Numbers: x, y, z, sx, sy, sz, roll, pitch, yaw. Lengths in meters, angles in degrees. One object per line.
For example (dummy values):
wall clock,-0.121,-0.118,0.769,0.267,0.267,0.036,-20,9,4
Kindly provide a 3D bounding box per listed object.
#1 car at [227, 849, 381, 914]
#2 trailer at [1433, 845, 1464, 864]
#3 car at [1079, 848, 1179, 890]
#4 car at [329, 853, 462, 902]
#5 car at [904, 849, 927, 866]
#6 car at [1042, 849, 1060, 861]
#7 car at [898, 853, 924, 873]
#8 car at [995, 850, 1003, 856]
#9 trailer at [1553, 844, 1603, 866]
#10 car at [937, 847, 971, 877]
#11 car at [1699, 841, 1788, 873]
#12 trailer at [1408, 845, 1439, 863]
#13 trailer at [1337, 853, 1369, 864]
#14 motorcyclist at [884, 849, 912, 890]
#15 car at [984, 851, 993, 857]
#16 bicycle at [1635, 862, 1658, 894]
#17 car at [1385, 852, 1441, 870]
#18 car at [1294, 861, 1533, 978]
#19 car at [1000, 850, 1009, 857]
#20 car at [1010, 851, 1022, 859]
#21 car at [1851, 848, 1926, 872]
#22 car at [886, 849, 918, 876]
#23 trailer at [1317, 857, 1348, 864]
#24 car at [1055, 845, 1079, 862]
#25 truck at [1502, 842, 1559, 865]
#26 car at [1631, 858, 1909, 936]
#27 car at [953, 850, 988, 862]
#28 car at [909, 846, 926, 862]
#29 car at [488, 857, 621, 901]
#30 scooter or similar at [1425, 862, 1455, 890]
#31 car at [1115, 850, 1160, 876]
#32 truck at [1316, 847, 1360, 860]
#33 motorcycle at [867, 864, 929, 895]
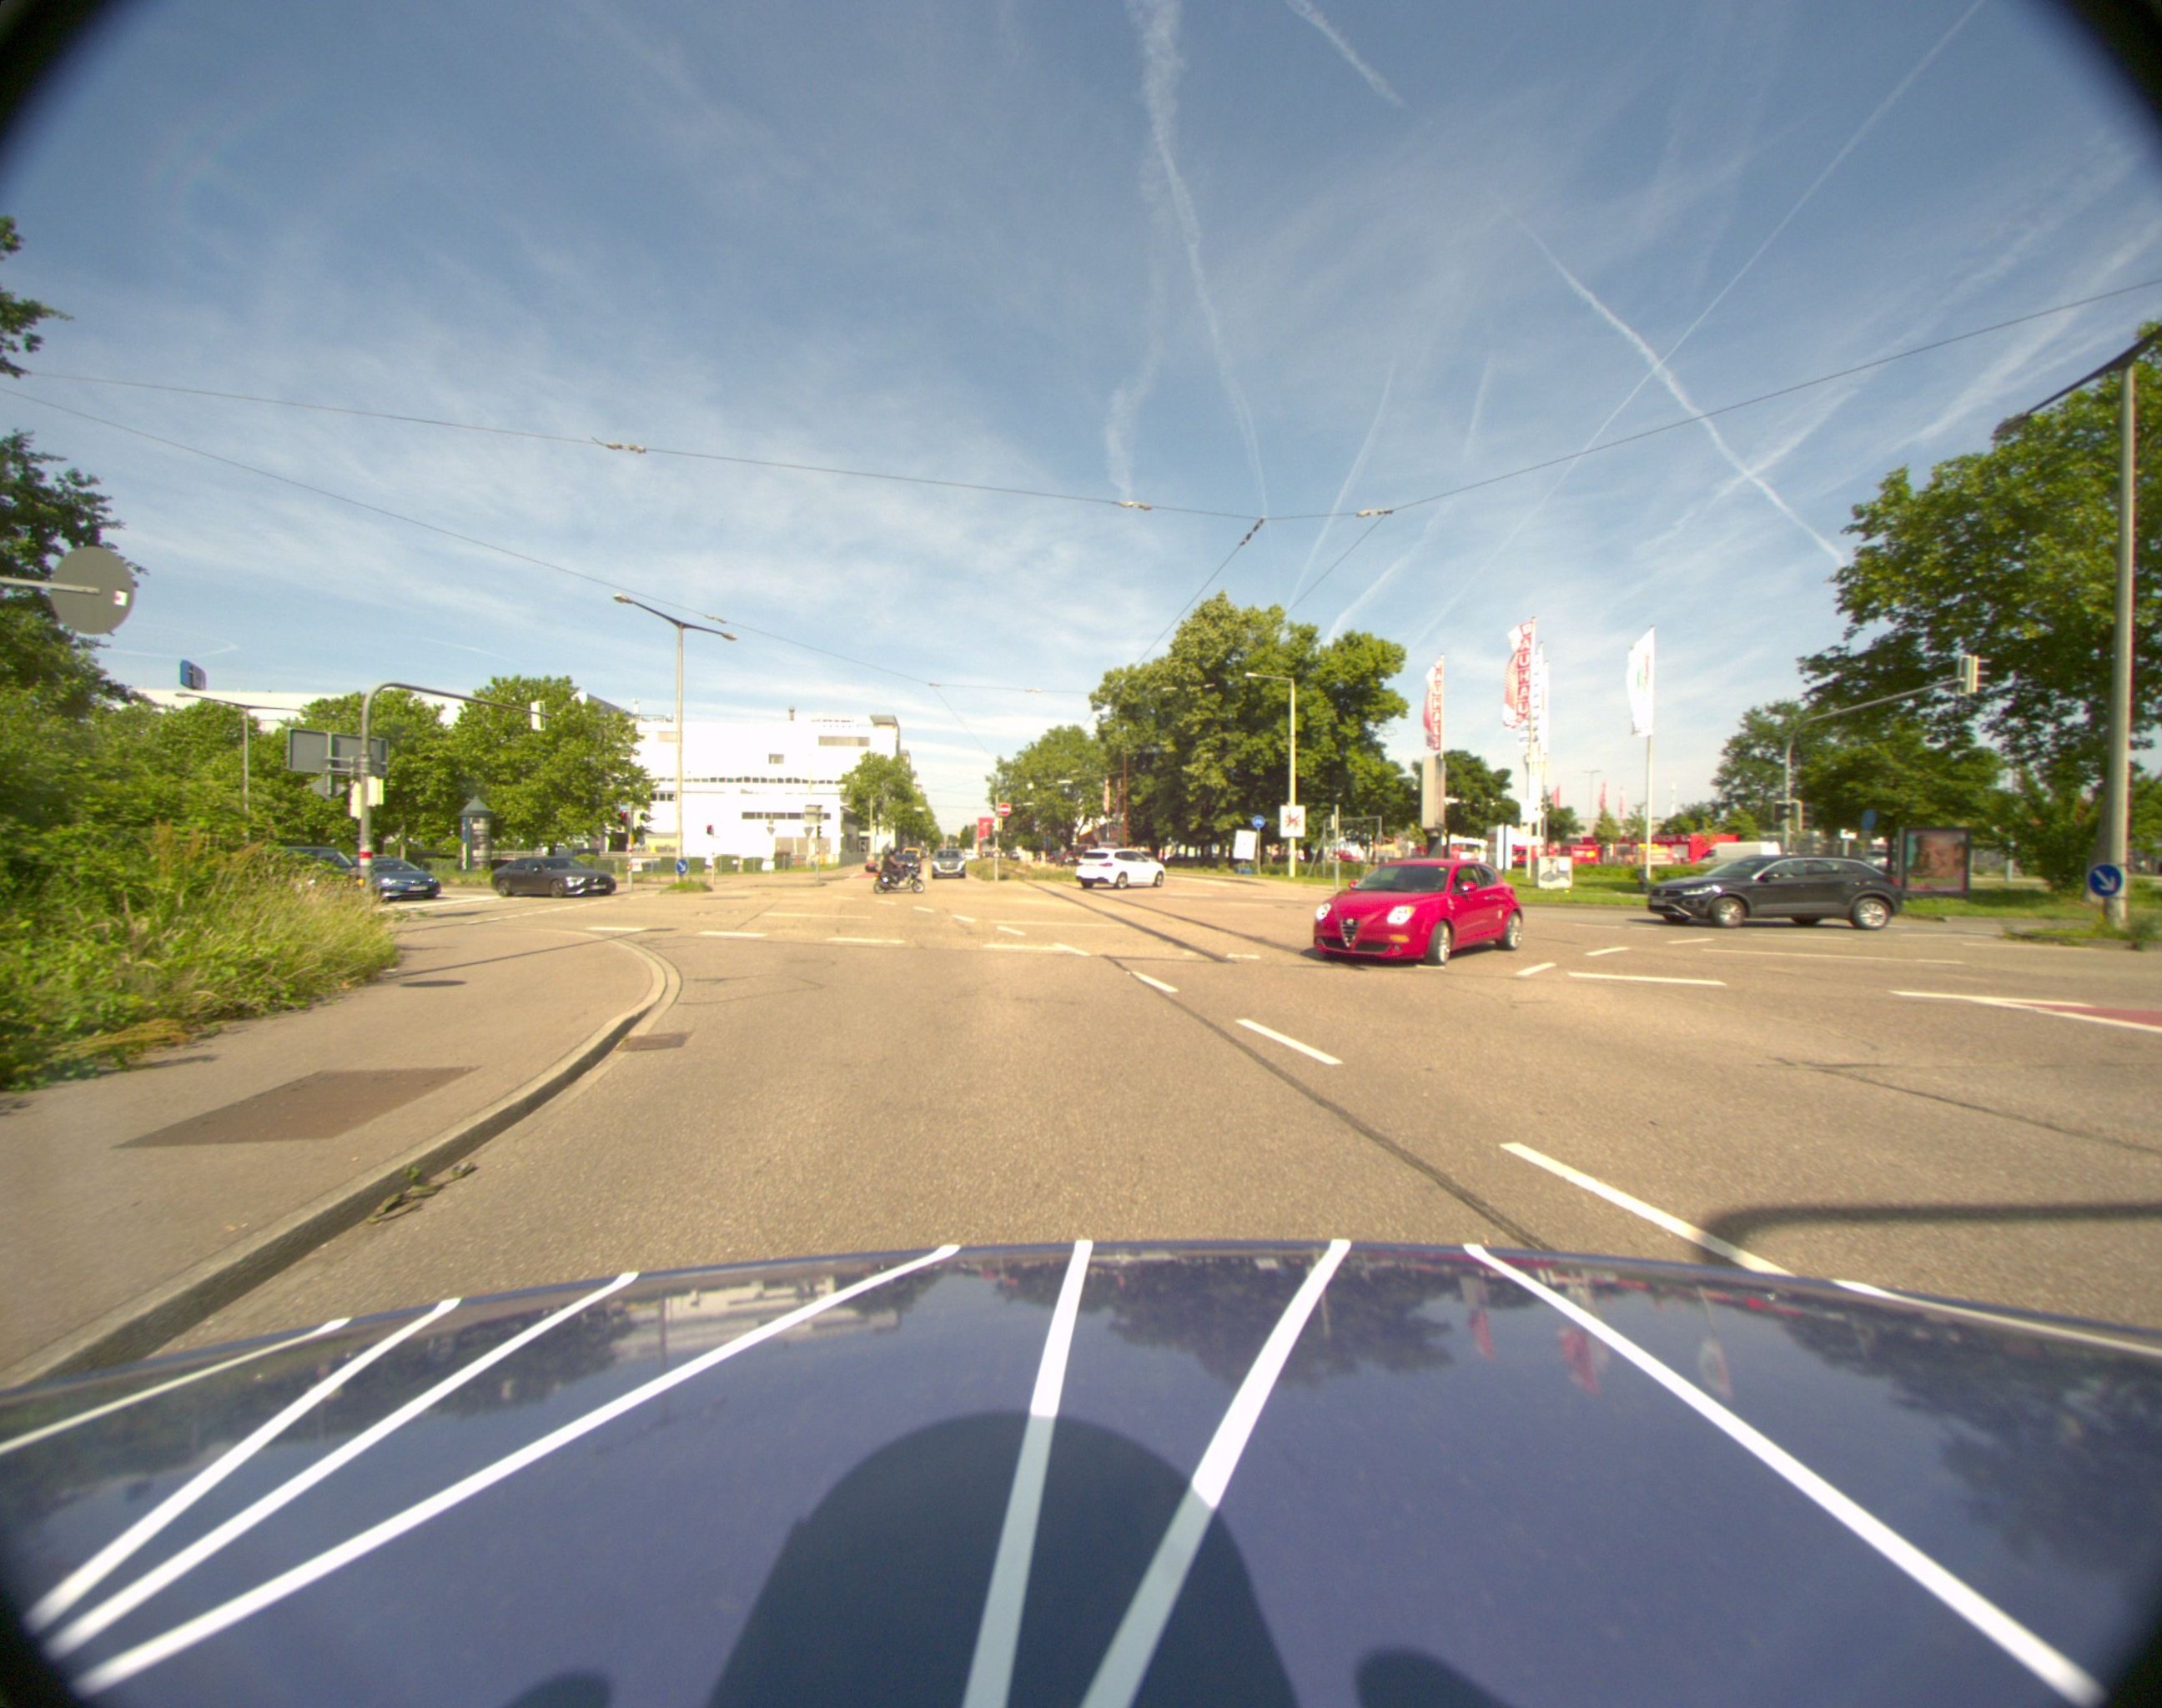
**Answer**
car,-23.163,0.759,22.665,3.990,1.804,1.859,0,1,23
trailer,48.349,0.021,100.007,1.550,2.344,4.408,1,1,-5
car,2.125,0.572,32.508,1.910,1.679,4.636,1,1,40
car,-23.566,0.767,26.137,3.990,1.552,1.859,0,1,23
car,-13.723,0.268,63.274,1.782,1.435,4.621,0,0,-11
car,-4.046,0.089,102.030,1.851,1.502,4.389,0,0,-11
car,-12.905,0.639,57.951,1.782,1.435,4.621,0,0,-11
car,-21.060,-0.264,194.657,1.851,1.502,4.339,0,0,-10
trailer,54.179,0.113,82.880,4.411,2.363,1.750,1,1,-7
car,-7.650,0.443,45.518,1.916,1.679,4.621,0,0,-11
car,57.312,0.227,65.922,2.020,2.527,5.682,-2,1,-13
trailer,45.090,-0.046,100.211,1.591,2.363,4.407,1,1,-8
trailer,34.542,0.564,96.688,1.592,1.279,4.405,0,0,-14
motorcyclist,-6.505,0.547,26.974,0.874,1.438,0.736,0,1,-22
car,-23.161,-0.085,189.848,1.851,1.502,4.339,0,0,-10
bicycle,21.476,0.904,28.847,0.502,1.102,1.795,1,2,44
car,28.359,0.594,65.051,4.049,1.578,1.729,0,0,-3
car,5.012,0.869,11.235,3.917,1.429,1.655,2,-2,-40
car,-17.004,-0.215,168.668,1.851,1.502,4.339,0,0,-10
car,-12.306,0.228,142.791,1.851,1.502,4.339,0,0,-10
car,64.795,0.477,60.977,4.833,1.806,1.872,1,2,-13
car,-11.775,0.519,50.239,1.916,1.679,4.621,0,0,-11
trailer,31.581,0.822,95.554,2.099,0.777,4.408,0,0,-7
car,-1.469,-0.057,77.108,1.814,1.596,4.374,0,1,-9
truck,52.288,-0.035,88.417,6.033,2.594,2.017,1,0,-13
car,14.657,0.859,16.411,4.075,1.536,1.877,0,0,10
car,-15.891,0.303,109.270,4.632,1.679,1.912,0,1,-22
car,-18.745,0.011,87.090,1.782,1.799,4.621,0,0,-11
car,-18.491,0.819,26.681,4.461,1.371,1.722,0,2,24
scooter or similar,14.884,0.894,31.545,1.121,1.120,0.426,0,1,24
car,3.685,0.540,50.469,1.997,1.641,4.651,0,1,-9
truck,38.803,0.001,114.632,6.006,1.820,2.186,1,-2,-10
motorcycle,-6.509,0.890,26.984,2.046,1.076,0.736,0,1,-22
